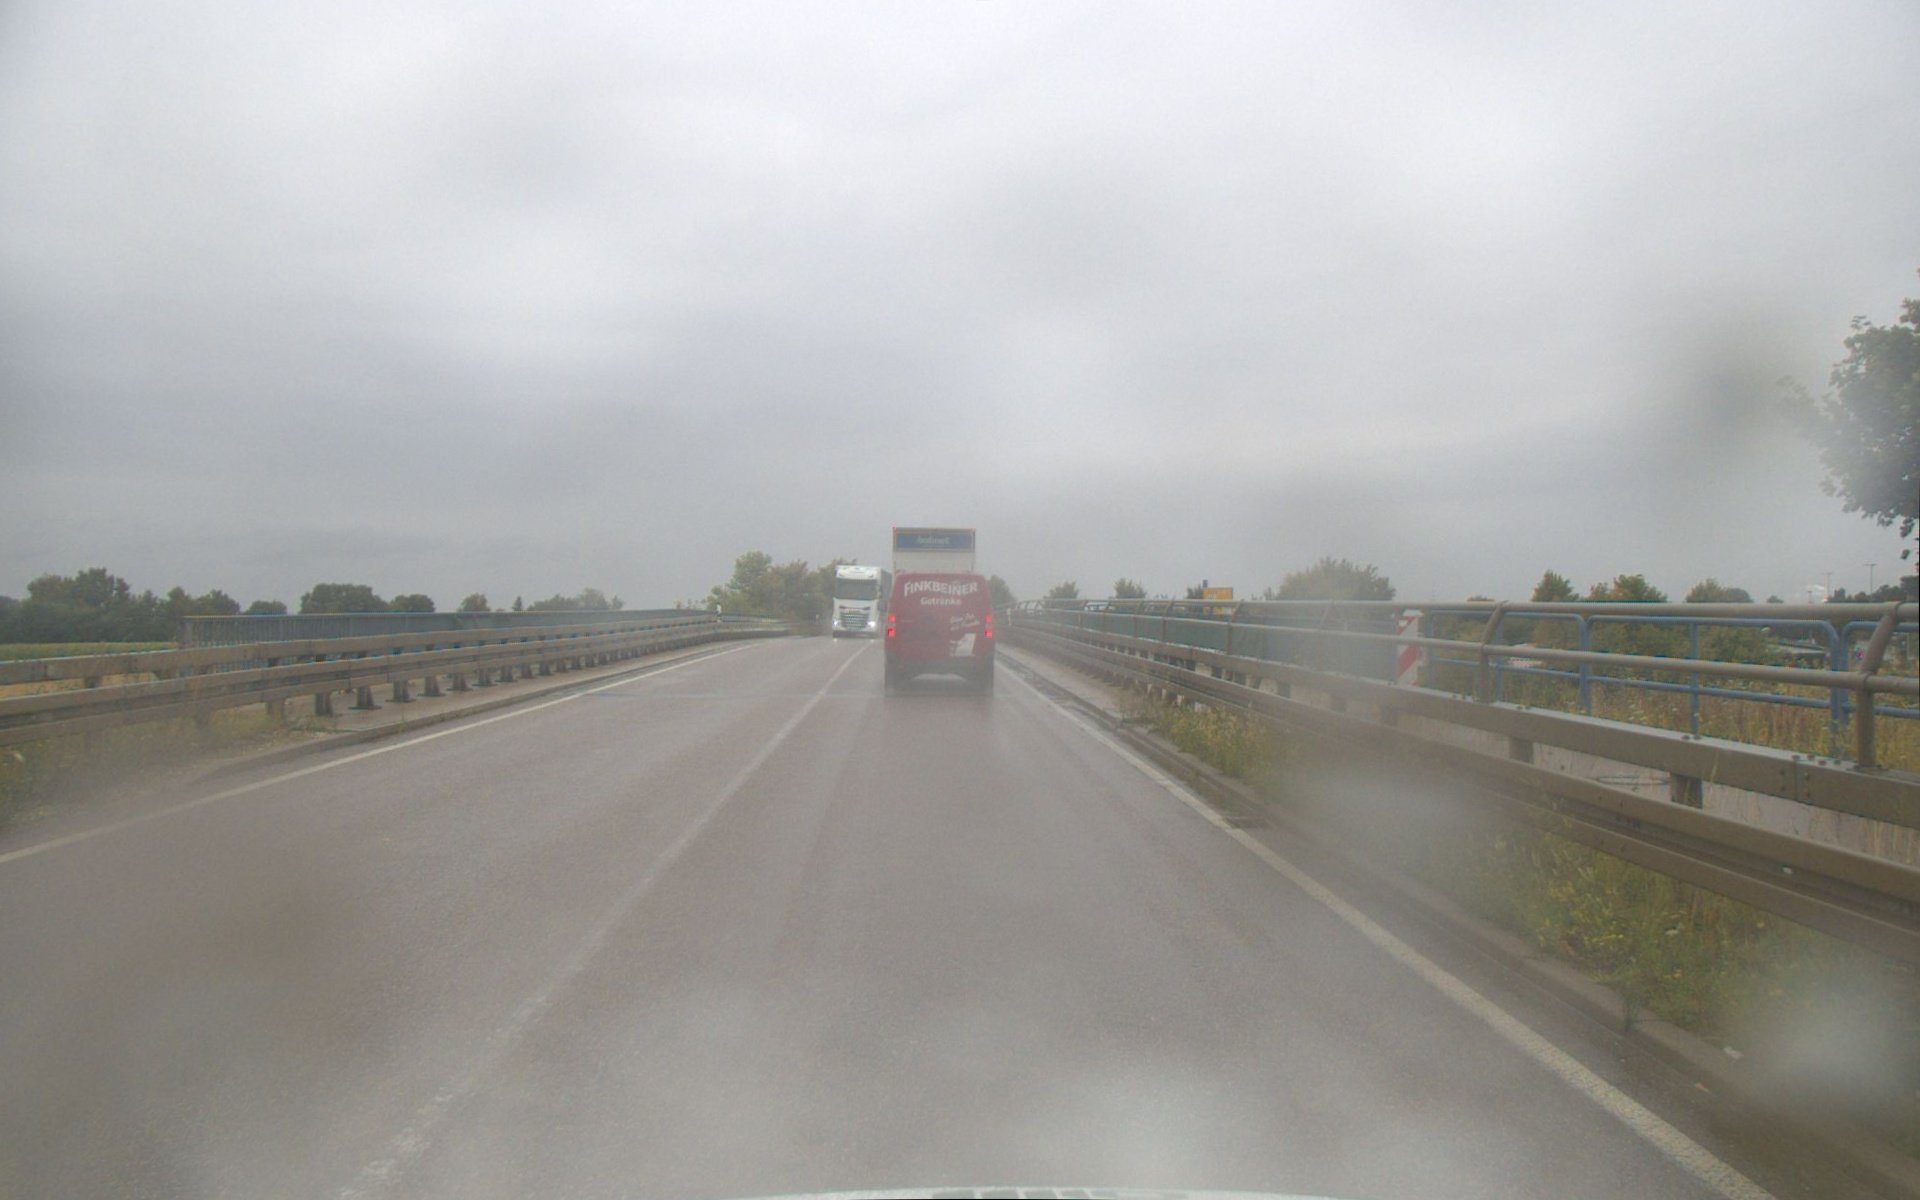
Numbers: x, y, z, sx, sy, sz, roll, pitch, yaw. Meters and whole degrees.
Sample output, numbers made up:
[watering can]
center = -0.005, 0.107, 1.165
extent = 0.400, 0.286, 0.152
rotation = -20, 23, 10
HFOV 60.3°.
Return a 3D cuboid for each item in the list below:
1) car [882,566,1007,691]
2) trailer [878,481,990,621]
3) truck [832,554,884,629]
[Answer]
[car]
center = -0.329, 0.436, 28.526
extent = 1.953, 1.959, 4.141
rotation = 1, 0, -2
[trailer]
center = -0.774, -1.391, 53.432
extent = 3.136, 3.990, 8.738
rotation = 3, -1, 0
[truck]
center = -5.737, -0.457, 94.309
extent = 2.761, 4.040, 8.759
rotation = 0, 0, -2
